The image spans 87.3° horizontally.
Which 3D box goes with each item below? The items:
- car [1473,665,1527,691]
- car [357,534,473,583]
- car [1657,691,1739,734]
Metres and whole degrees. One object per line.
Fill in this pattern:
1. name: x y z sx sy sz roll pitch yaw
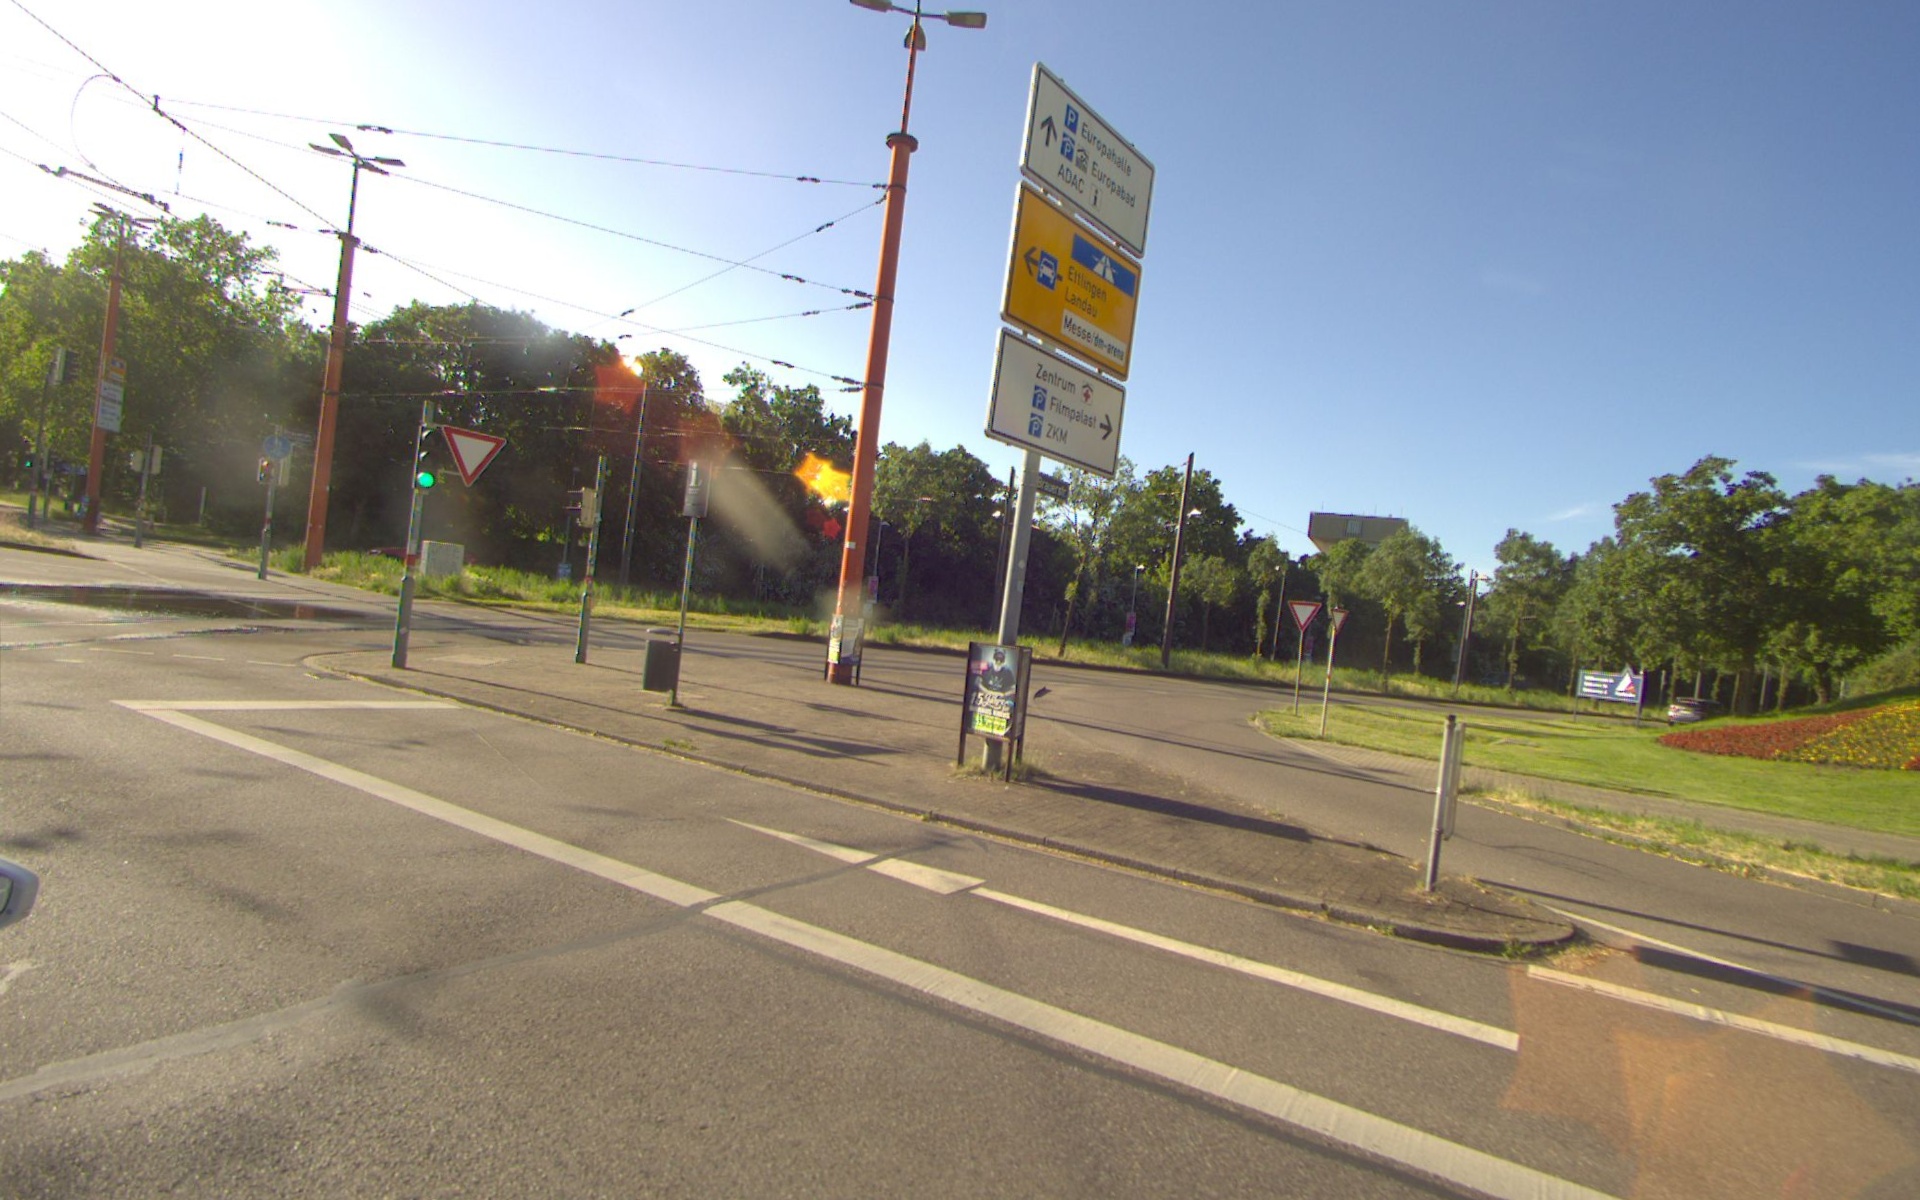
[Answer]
1. car: 48.060 6.923 89.533 4.771 1.753 1.983 8 0 -33
2. car: -23.721 -1.811 43.824 4.247 1.513 1.983 8 0 -33
3. car: 38.842 5.922 52.939 4.650 1.724 1.981 8 -1 -35
